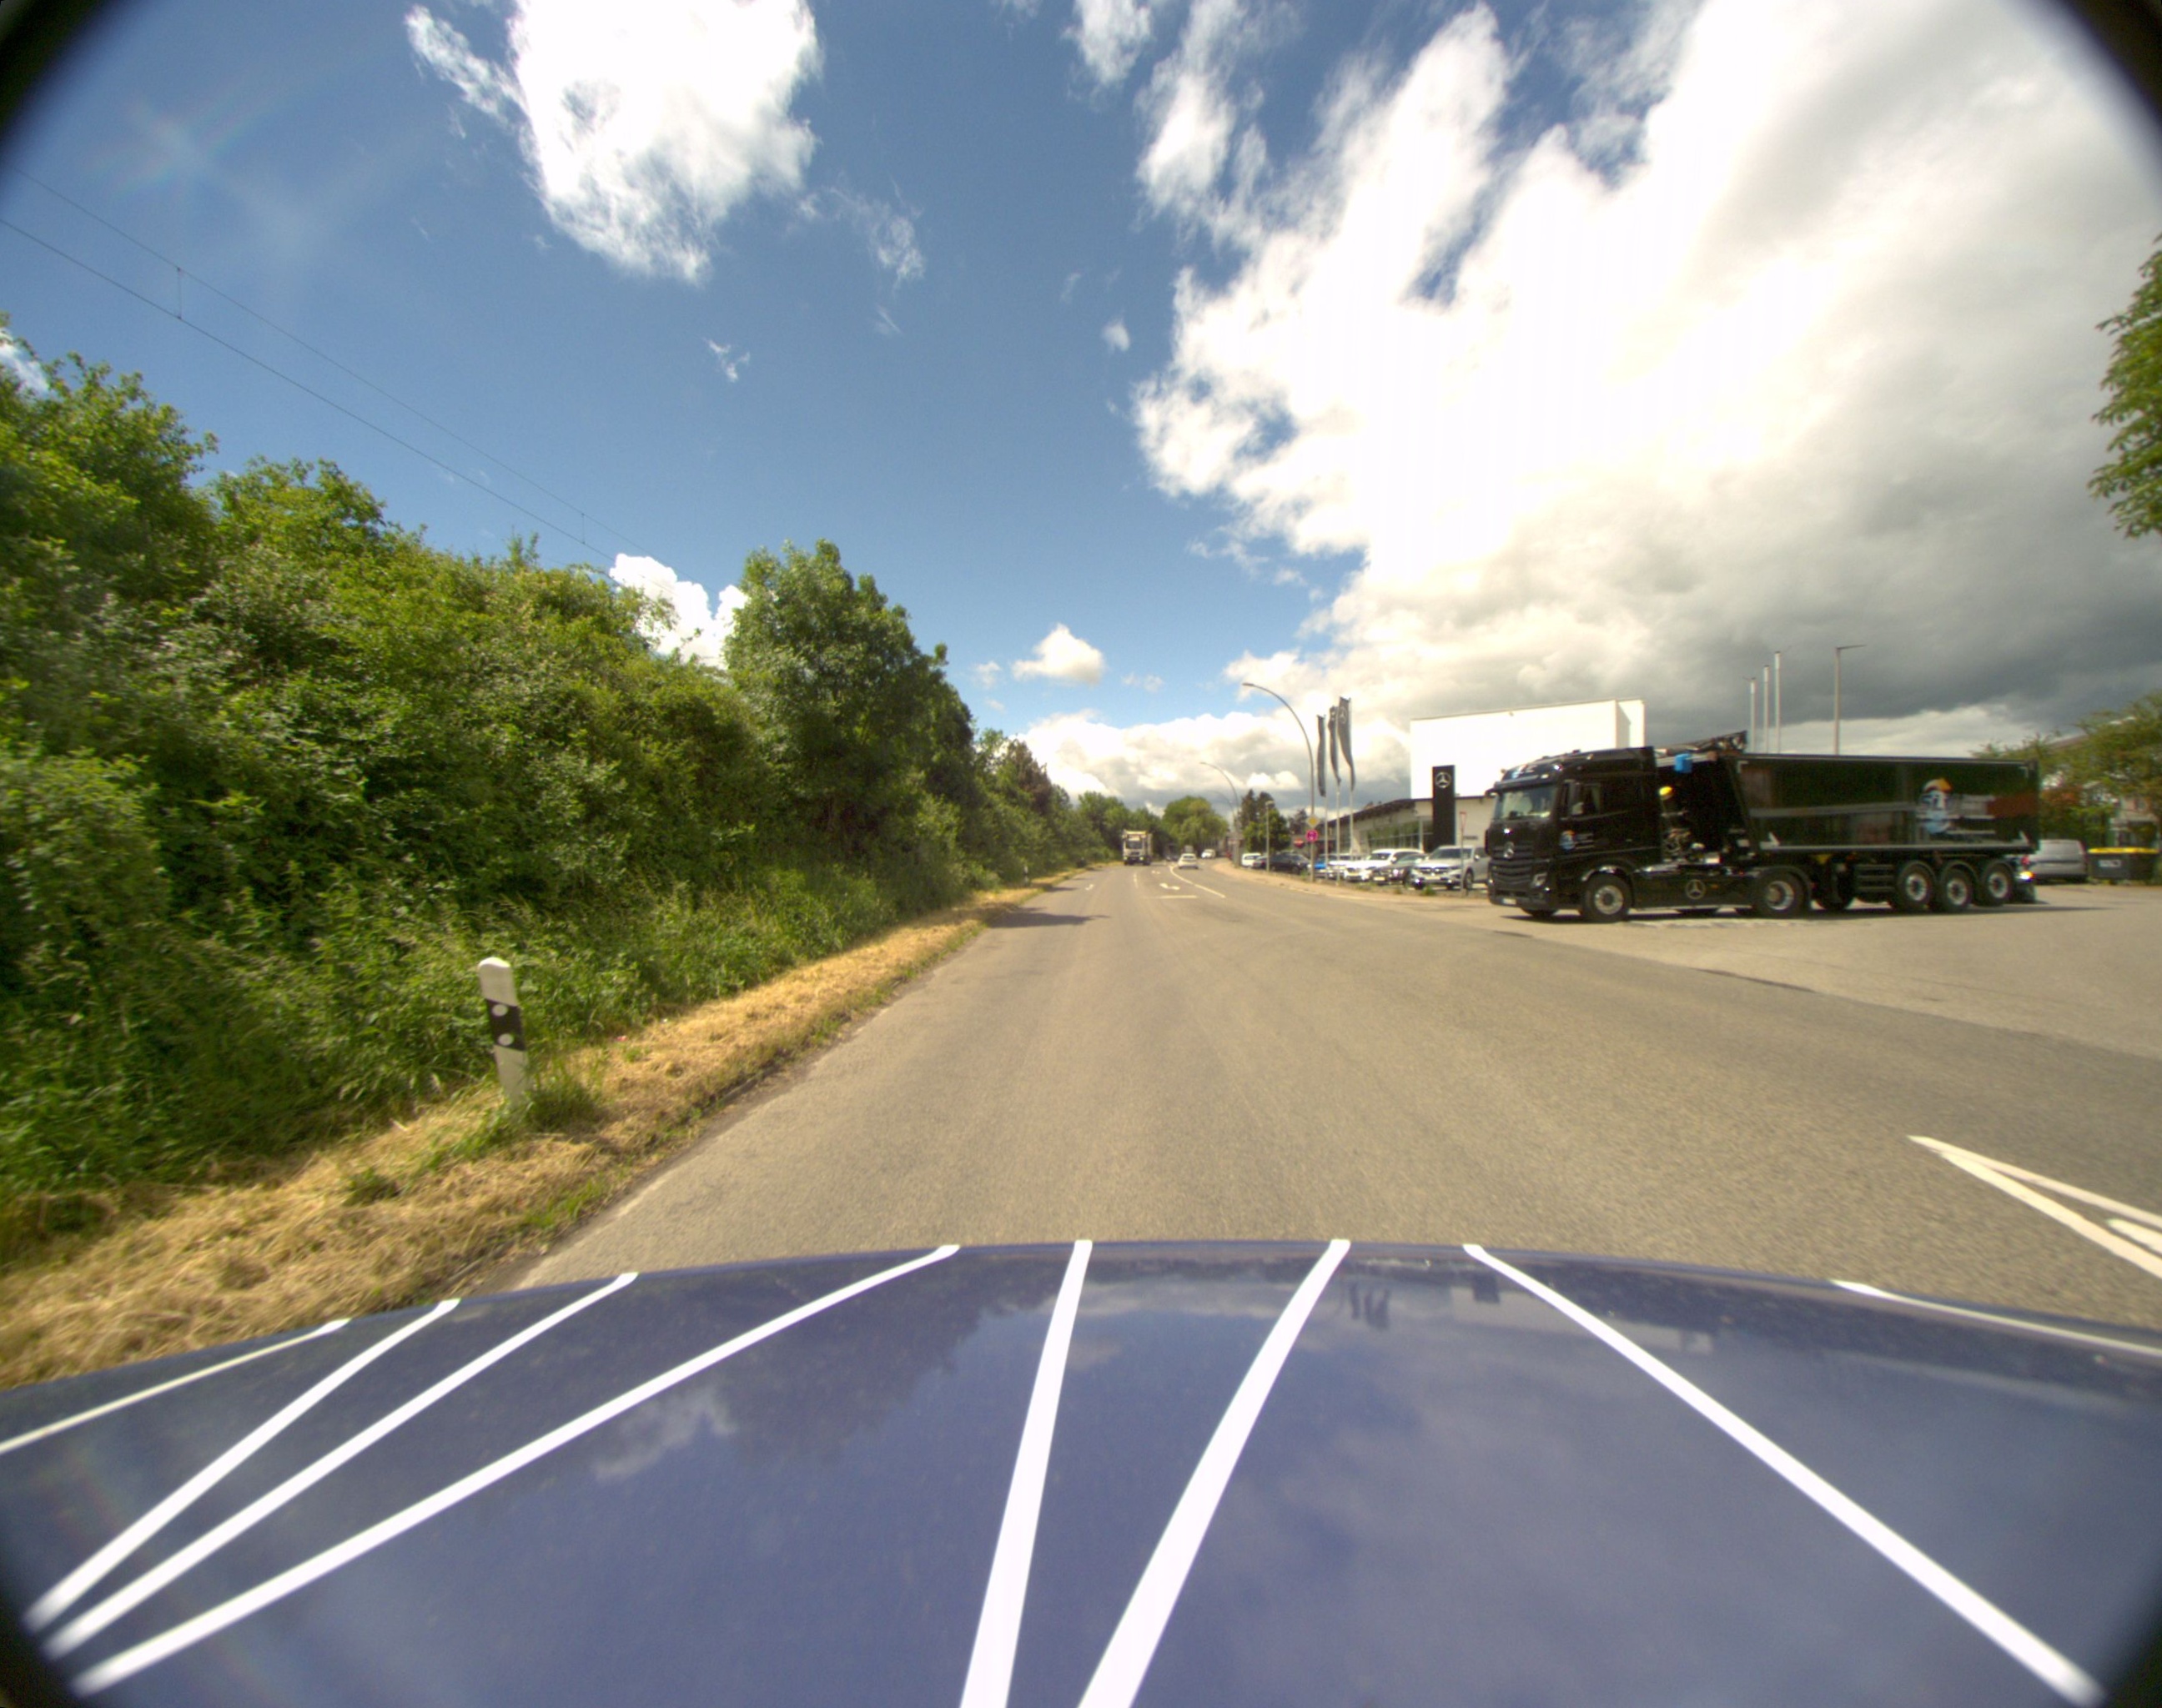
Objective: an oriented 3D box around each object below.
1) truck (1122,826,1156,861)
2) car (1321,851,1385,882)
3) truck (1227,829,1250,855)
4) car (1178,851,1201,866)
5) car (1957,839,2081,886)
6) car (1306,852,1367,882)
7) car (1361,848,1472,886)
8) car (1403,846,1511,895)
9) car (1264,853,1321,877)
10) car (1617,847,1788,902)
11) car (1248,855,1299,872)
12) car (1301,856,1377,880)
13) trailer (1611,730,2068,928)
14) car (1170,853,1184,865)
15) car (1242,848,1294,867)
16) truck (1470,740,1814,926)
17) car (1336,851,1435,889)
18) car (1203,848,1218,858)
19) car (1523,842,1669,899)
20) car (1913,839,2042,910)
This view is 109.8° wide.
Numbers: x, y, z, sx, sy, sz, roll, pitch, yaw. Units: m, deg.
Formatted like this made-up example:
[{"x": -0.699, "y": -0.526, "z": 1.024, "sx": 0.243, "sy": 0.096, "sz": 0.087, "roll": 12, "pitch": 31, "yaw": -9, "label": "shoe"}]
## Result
[{"x": 6.739, "y": -1.187, "z": 87.579, "sx": 2.902, "sy": 3.746, "sz": 9.642, "roll": 0, "pitch": 0, "yaw": 10, "label": "truck"}, {"x": 15.013, "y": 0.679, "z": 41.826, "sx": 1.869, "sy": 1.557, "sz": 4.531, "roll": -2, "pitch": -1, "yaw": 40, "label": "car"}, {"x": 29.237, "y": -2.214, "z": 140.922, "sx": 2.976, "sy": 4.634, "sz": 8.191, "roll": 0, "pitch": 1, "yaw": 21, "label": "truck"}, {"x": 10.405, "y": 0.416, "z": 73.152, "sx": 1.997, "sy": 1.442, "sz": 4.429, "roll": 1, "pitch": 0, "yaw": 7, "label": "car"}, {"x": 39.584, "y": 0.326, "z": 32.219, "sx": 1.828, "sy": 1.835, "sz": 4.683, "roll": 0, "pitch": 0, "yaw": 31, "label": "car"}, {"x": 15.427, "y": 0.734, "z": 45.720, "sx": 1.889, "sy": 1.659, "sz": 4.580, "roll": -2, "pitch": -1, "yaw": 40, "label": "car"}, {"x": 14.038, "y": 0.548, "z": 31.782, "sx": 4.334, "sy": 1.456, "sz": 1.793, "roll": -1, "pitch": -2, "yaw": -26, "label": "car"}, {"x": 13.854, "y": 0.552, "z": 27.833, "sx": 4.752, "sy": 1.595, "sz": 1.983, "roll": -1, "pitch": 0, "yaw": -43, "label": "car"}, {"x": 15.976, "y": 0.822, "z": 57.540, "sx": 1.806, "sy": 1.615, "sz": 4.345, "roll": -4, "pitch": 0, "yaw": -22, "label": "car"}, {"x": 19.887, "y": 0.586, "z": 24.642, "sx": 1.802, "sy": 1.592, "sz": 4.765, "roll": 1, "pitch": 0, "yaw": 3, "label": "car"}, {"x": 16.944, "y": 0.793, "z": 67.015, "sx": 3.943, "sy": 1.485, "sz": 1.808, "roll": 0, "pitch": 0, "yaw": 45, "label": "car"}, {"x": 17.335, "y": 0.956, "z": 51.256, "sx": 1.807, "sy": 1.382, "sz": 4.587, "roll": -4, "pitch": 0, "yaw": -37, "label": "car"}, {"x": 18.131, "y": -0.543, "z": 18.321, "sx": 9.471, "sy": 4.059, "sz": 3.315, "roll": 0, "pitch": 1, "yaw": -14, "label": "trailer"}, {"x": 15.186, "y": 0.776, "z": 119.936, "sx": 1.952, "sy": 2.002, "sz": 4.004, "roll": 0, "pitch": 0, "yaw": 12, "label": "car"}, {"x": 19.417, "y": 0.348, "z": 79.013, "sx": 4.944, "sy": 1.827, "sz": 1.897, "roll": 1, "pitch": 0, "yaw": 41, "label": "car"}, {"x": 12.313, "y": -0.446, "z": 17.097, "sx": 5.570, "sy": 3.801, "sz": 2.983, "roll": 0, "pitch": 1, "yaw": -3, "label": "truck"}, {"x": 14.192, "y": 0.712, "z": 35.380, "sx": 4.305, "sy": 1.668, "sz": 1.932, "roll": -1, "pitch": 0, "yaw": -28, "label": "car"}, {"x": 25.674, "y": -0.255, "z": 150.330, "sx": 1.951, "sy": 2.002, "sz": 4.007, "roll": 0, "pitch": 0, "yaw": 23, "label": "car"}, {"x": 16.879, "y": 0.506, "z": 25.241, "sx": 1.935, "sy": 1.711, "sz": 4.601, "roll": -1, "pitch": 0, "yaw": 3, "label": "car"}, {"x": 25.956, "y": 0.522, "z": 22.147, "sx": 1.952, "sy": 1.865, "sz": 4.126, "roll": 0, "pitch": 0, "yaw": 43, "label": "car"}]
